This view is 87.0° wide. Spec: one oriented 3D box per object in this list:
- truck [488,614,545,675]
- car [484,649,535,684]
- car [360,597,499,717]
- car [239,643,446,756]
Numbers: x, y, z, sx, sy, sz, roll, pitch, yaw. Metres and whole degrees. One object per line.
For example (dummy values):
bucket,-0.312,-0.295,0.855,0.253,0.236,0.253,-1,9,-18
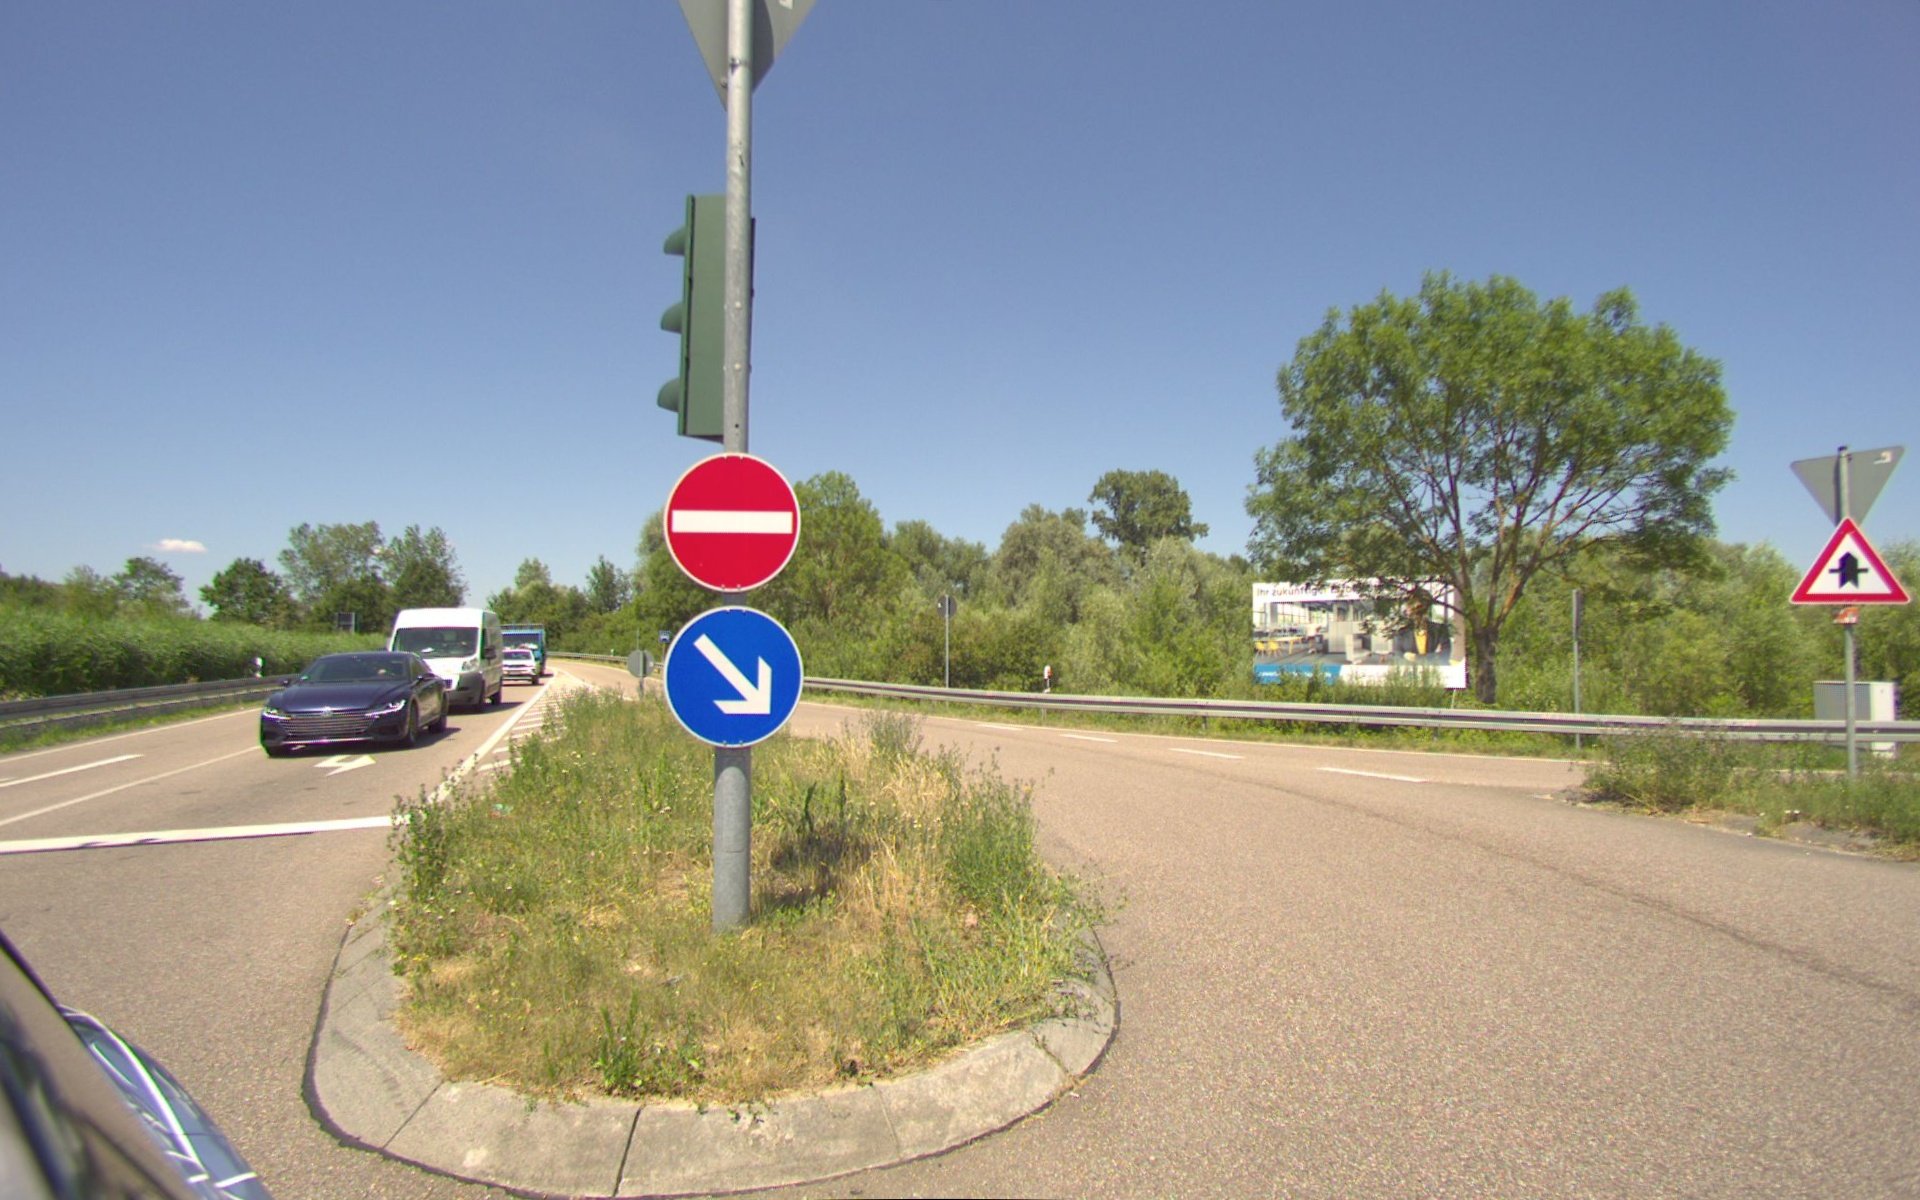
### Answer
truck,-25.233,2.597,57.843,2.649,3.220,9.206,1,-4,-22
car,-19.152,2.821,43.175,1.692,1.446,3.972,1,-4,-20
car,-12.588,1.363,24.444,2.191,2.514,6.001,0,-3,-20
car,-9.203,1.412,15.501,1.817,1.434,4.576,0,-3,-20
